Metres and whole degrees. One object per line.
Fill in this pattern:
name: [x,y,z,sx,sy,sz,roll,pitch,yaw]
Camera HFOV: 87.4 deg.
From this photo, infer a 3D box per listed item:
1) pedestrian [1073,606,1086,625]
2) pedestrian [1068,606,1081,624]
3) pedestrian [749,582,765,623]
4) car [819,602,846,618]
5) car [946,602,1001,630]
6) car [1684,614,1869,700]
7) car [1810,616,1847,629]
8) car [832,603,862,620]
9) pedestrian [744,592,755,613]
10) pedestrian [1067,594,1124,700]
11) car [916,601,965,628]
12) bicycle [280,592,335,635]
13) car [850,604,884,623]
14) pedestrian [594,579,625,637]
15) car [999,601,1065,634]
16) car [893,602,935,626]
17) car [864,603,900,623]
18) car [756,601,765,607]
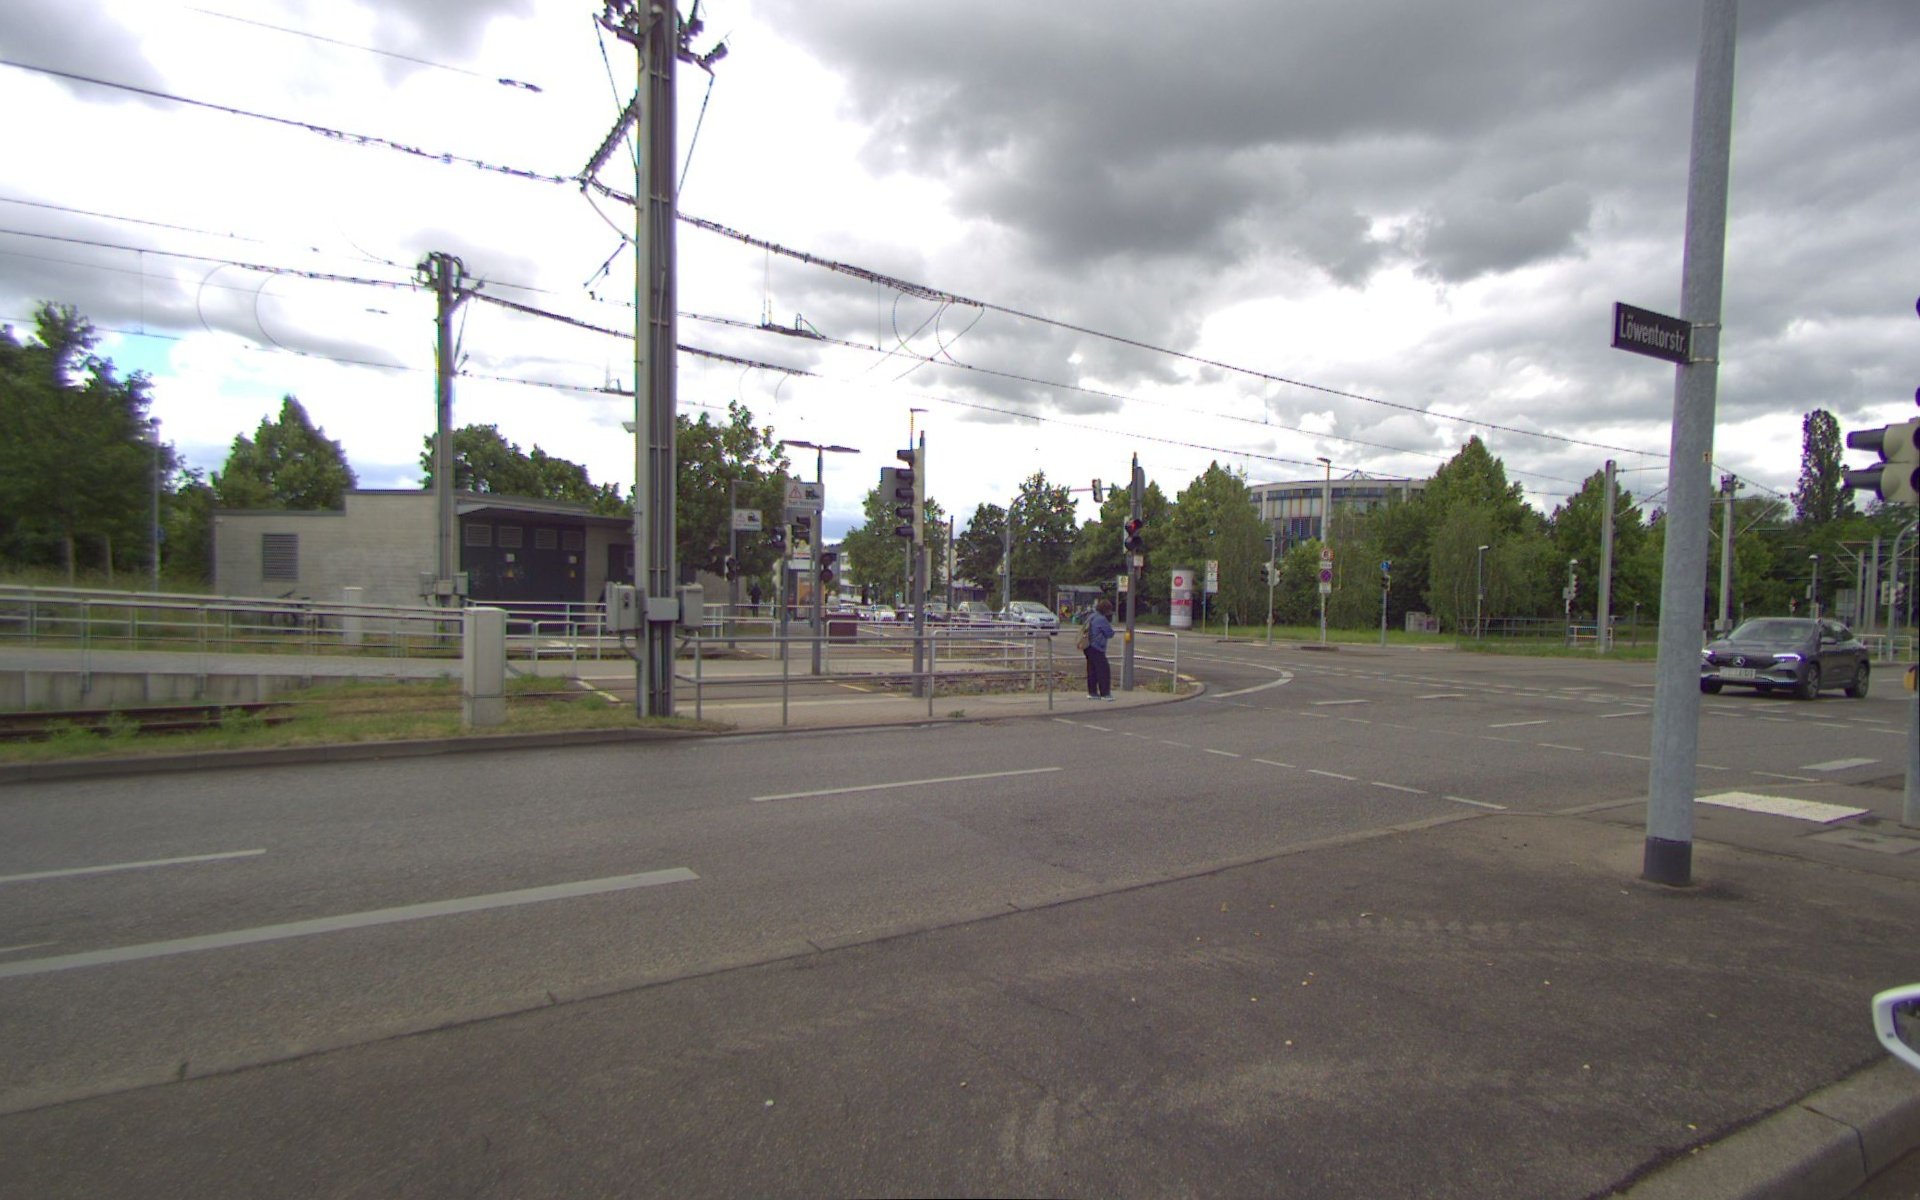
pedestrian: [8.521,1.081,71.522,0.652,1.322,0.780,1,0,-16]
pedestrian: [8.285,1.080,72.905,0.652,1.321,0.780,1,0,-16]
pedestrian: [-9.965,0.128,49.325,0.738,1.993,0.795,1,0,-9]
car: [-11.933,0.964,94.067,1.706,1.456,3.731,1,0,-20]
car: [0.691,0.845,53.665,1.706,1.456,3.731,1,0,-20]
car: [16.870,1.109,20.707,4.180,1.567,1.767,1,0,-33]
car: [115.887,3.017,134.131,1.748,1.567,4.027,1,0,6]
car: [-9.770,0.988,86.711,1.706,1.456,3.731,1,0,-20]
pedestrian: [-16.765,0.165,80.026,0.771,1.649,0.660,1,0,-22]
pedestrian: [2.087,0.702,15.435,0.701,1.584,0.533,1,1,-44]
car: [-1.148,0.818,58.161,1.706,1.456,3.731,1,0,-20]
bicycle: [-17.323,0.347,26.672,1.452,1.101,0.492,1,0,22]
car: [-7.419,1.024,79.680,1.706,1.456,3.991,1,0,-20]
pedestrian: [-9.955,0.233,28.506,0.698,1.628,0.652,1,0,-33]
car: [3.304,0.801,46.806,1.706,1.456,3.731,1,0,-20]
car: [-3.003,0.890,64.927,1.706,1.456,3.731,1,0,-20]
car: [-5.813,0.964,74.777,1.706,1.456,3.731,1,0,-20]
car: [-49.024,1.045,246.717,1.706,1.456,3.731,1,0,-20]
